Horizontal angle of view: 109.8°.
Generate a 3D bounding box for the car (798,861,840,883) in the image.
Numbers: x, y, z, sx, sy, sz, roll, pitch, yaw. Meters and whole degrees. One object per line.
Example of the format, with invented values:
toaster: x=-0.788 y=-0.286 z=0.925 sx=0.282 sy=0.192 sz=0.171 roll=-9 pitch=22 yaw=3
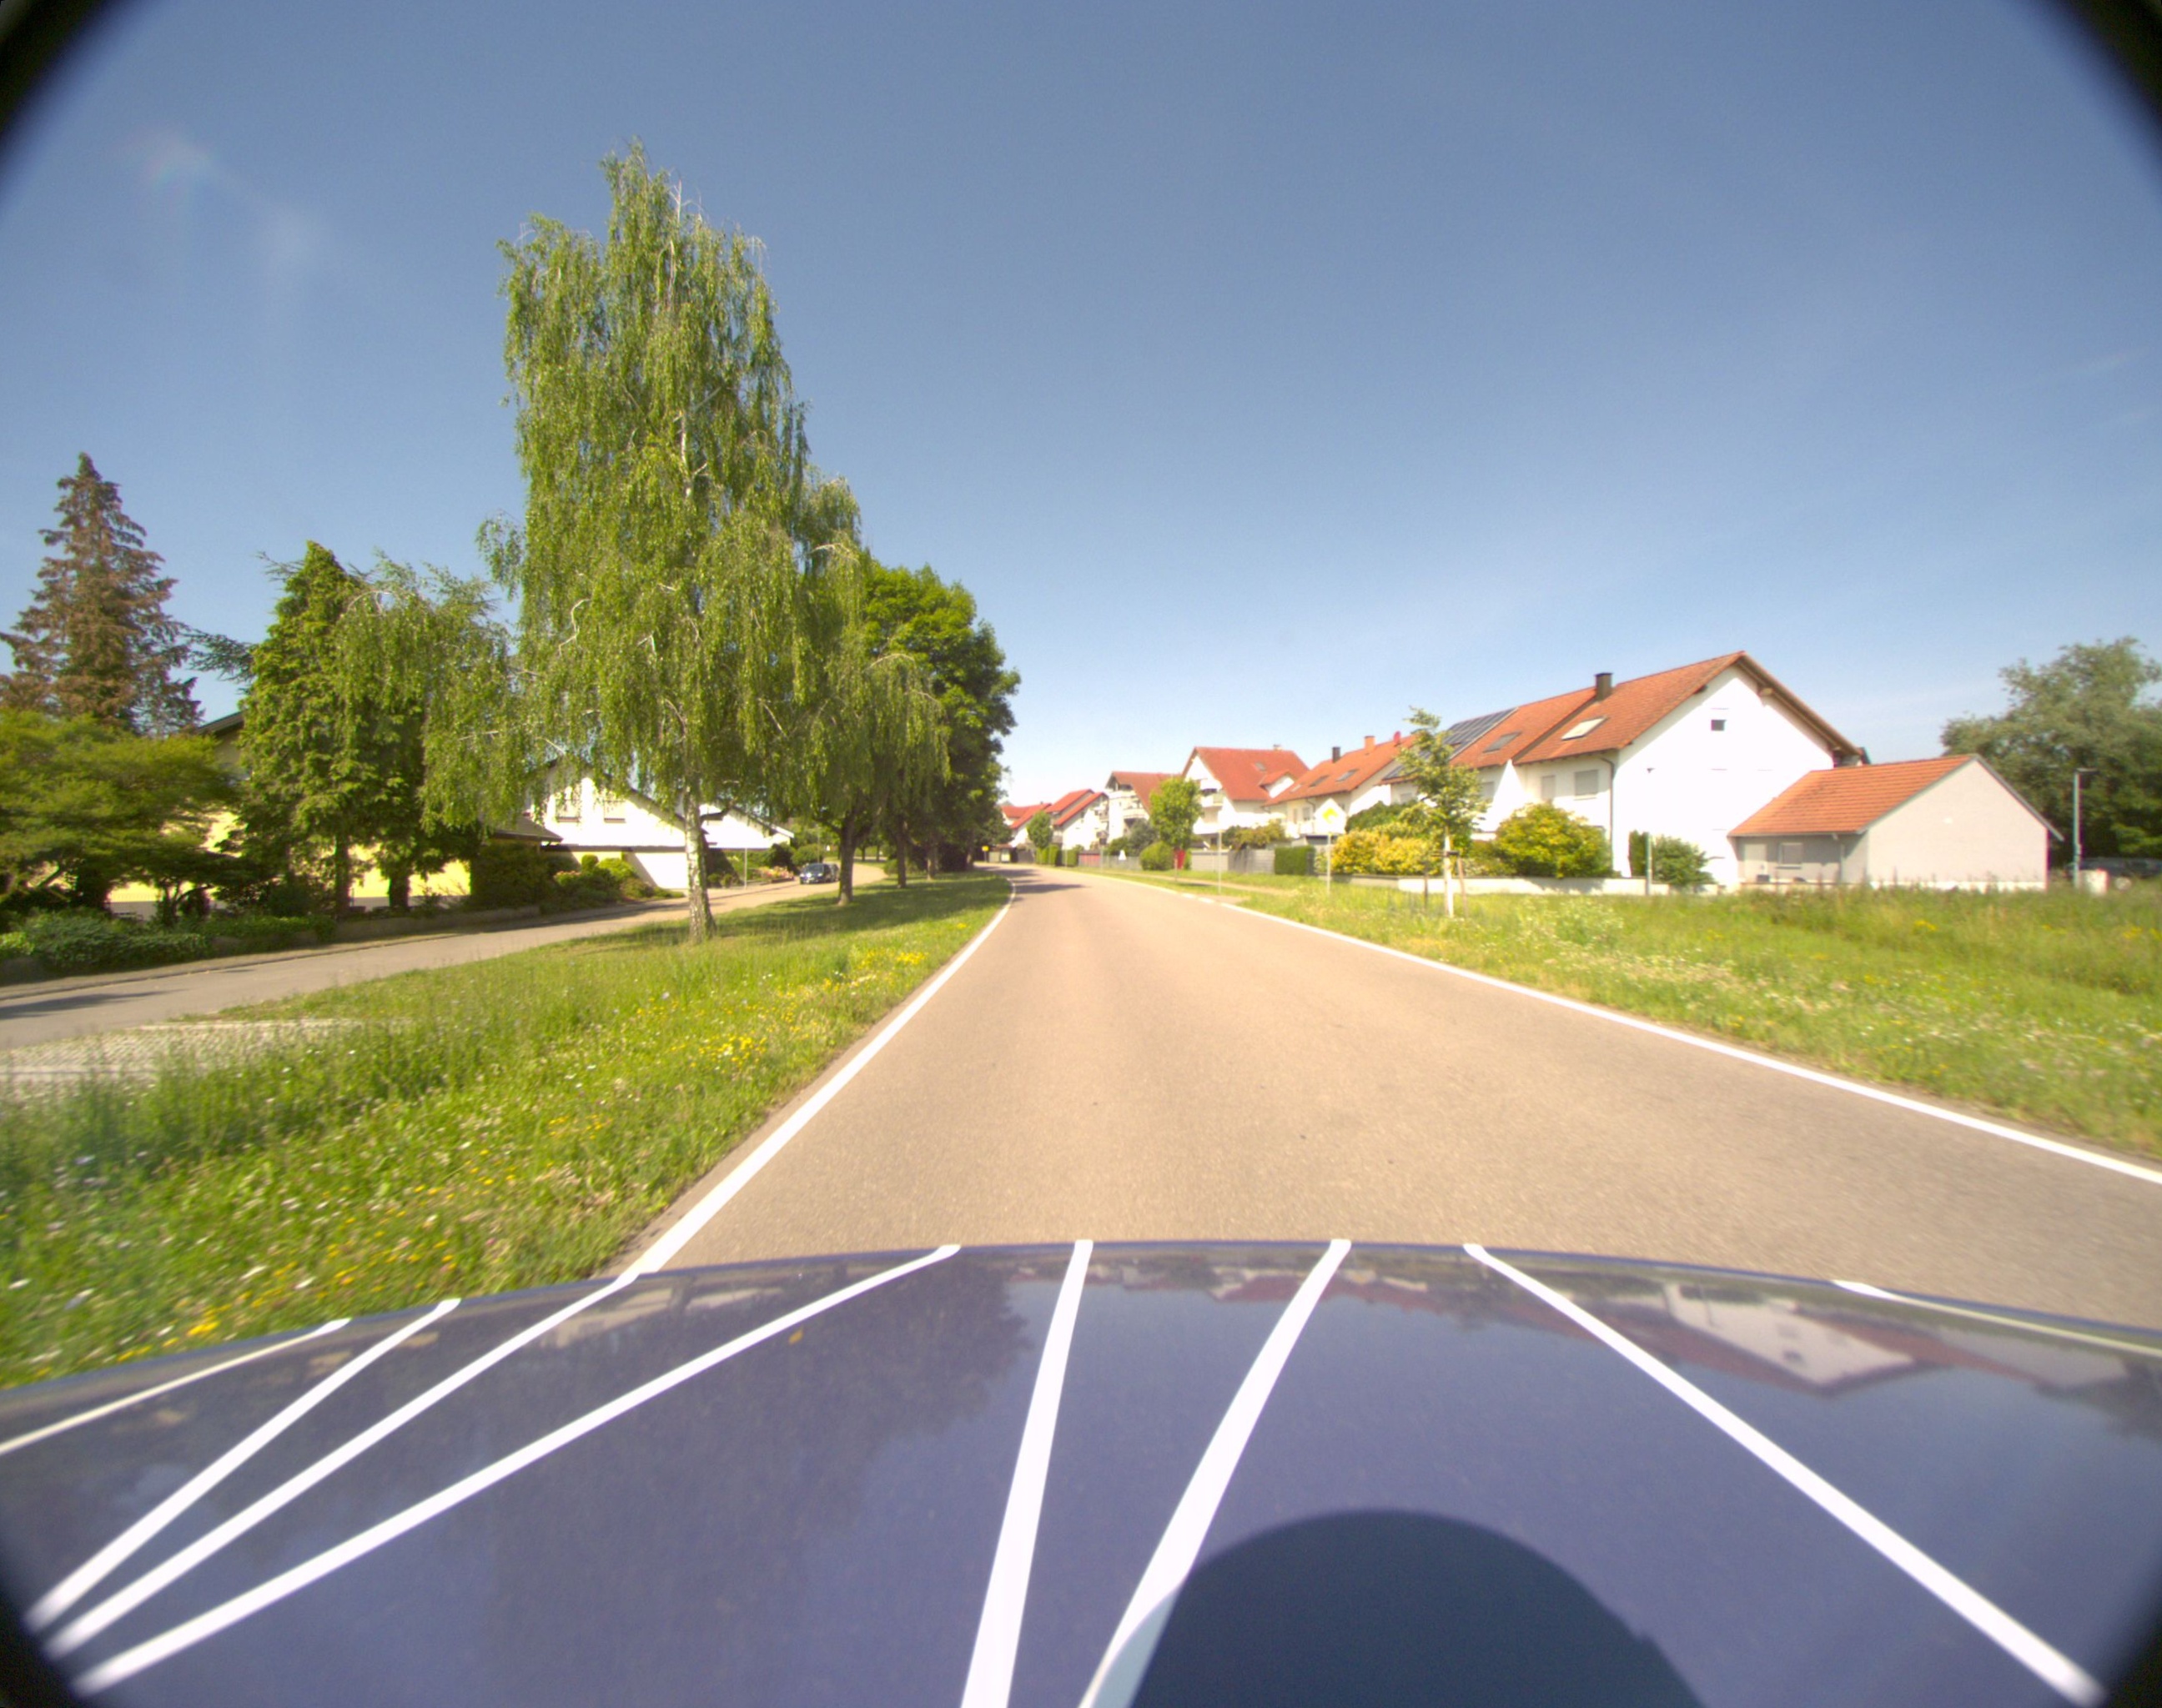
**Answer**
car: x=-19.774 y=1.342 z=57.523 sx=1.863 sy=1.437 sz=4.167 roll=-2 pitch=1 yaw=-3
